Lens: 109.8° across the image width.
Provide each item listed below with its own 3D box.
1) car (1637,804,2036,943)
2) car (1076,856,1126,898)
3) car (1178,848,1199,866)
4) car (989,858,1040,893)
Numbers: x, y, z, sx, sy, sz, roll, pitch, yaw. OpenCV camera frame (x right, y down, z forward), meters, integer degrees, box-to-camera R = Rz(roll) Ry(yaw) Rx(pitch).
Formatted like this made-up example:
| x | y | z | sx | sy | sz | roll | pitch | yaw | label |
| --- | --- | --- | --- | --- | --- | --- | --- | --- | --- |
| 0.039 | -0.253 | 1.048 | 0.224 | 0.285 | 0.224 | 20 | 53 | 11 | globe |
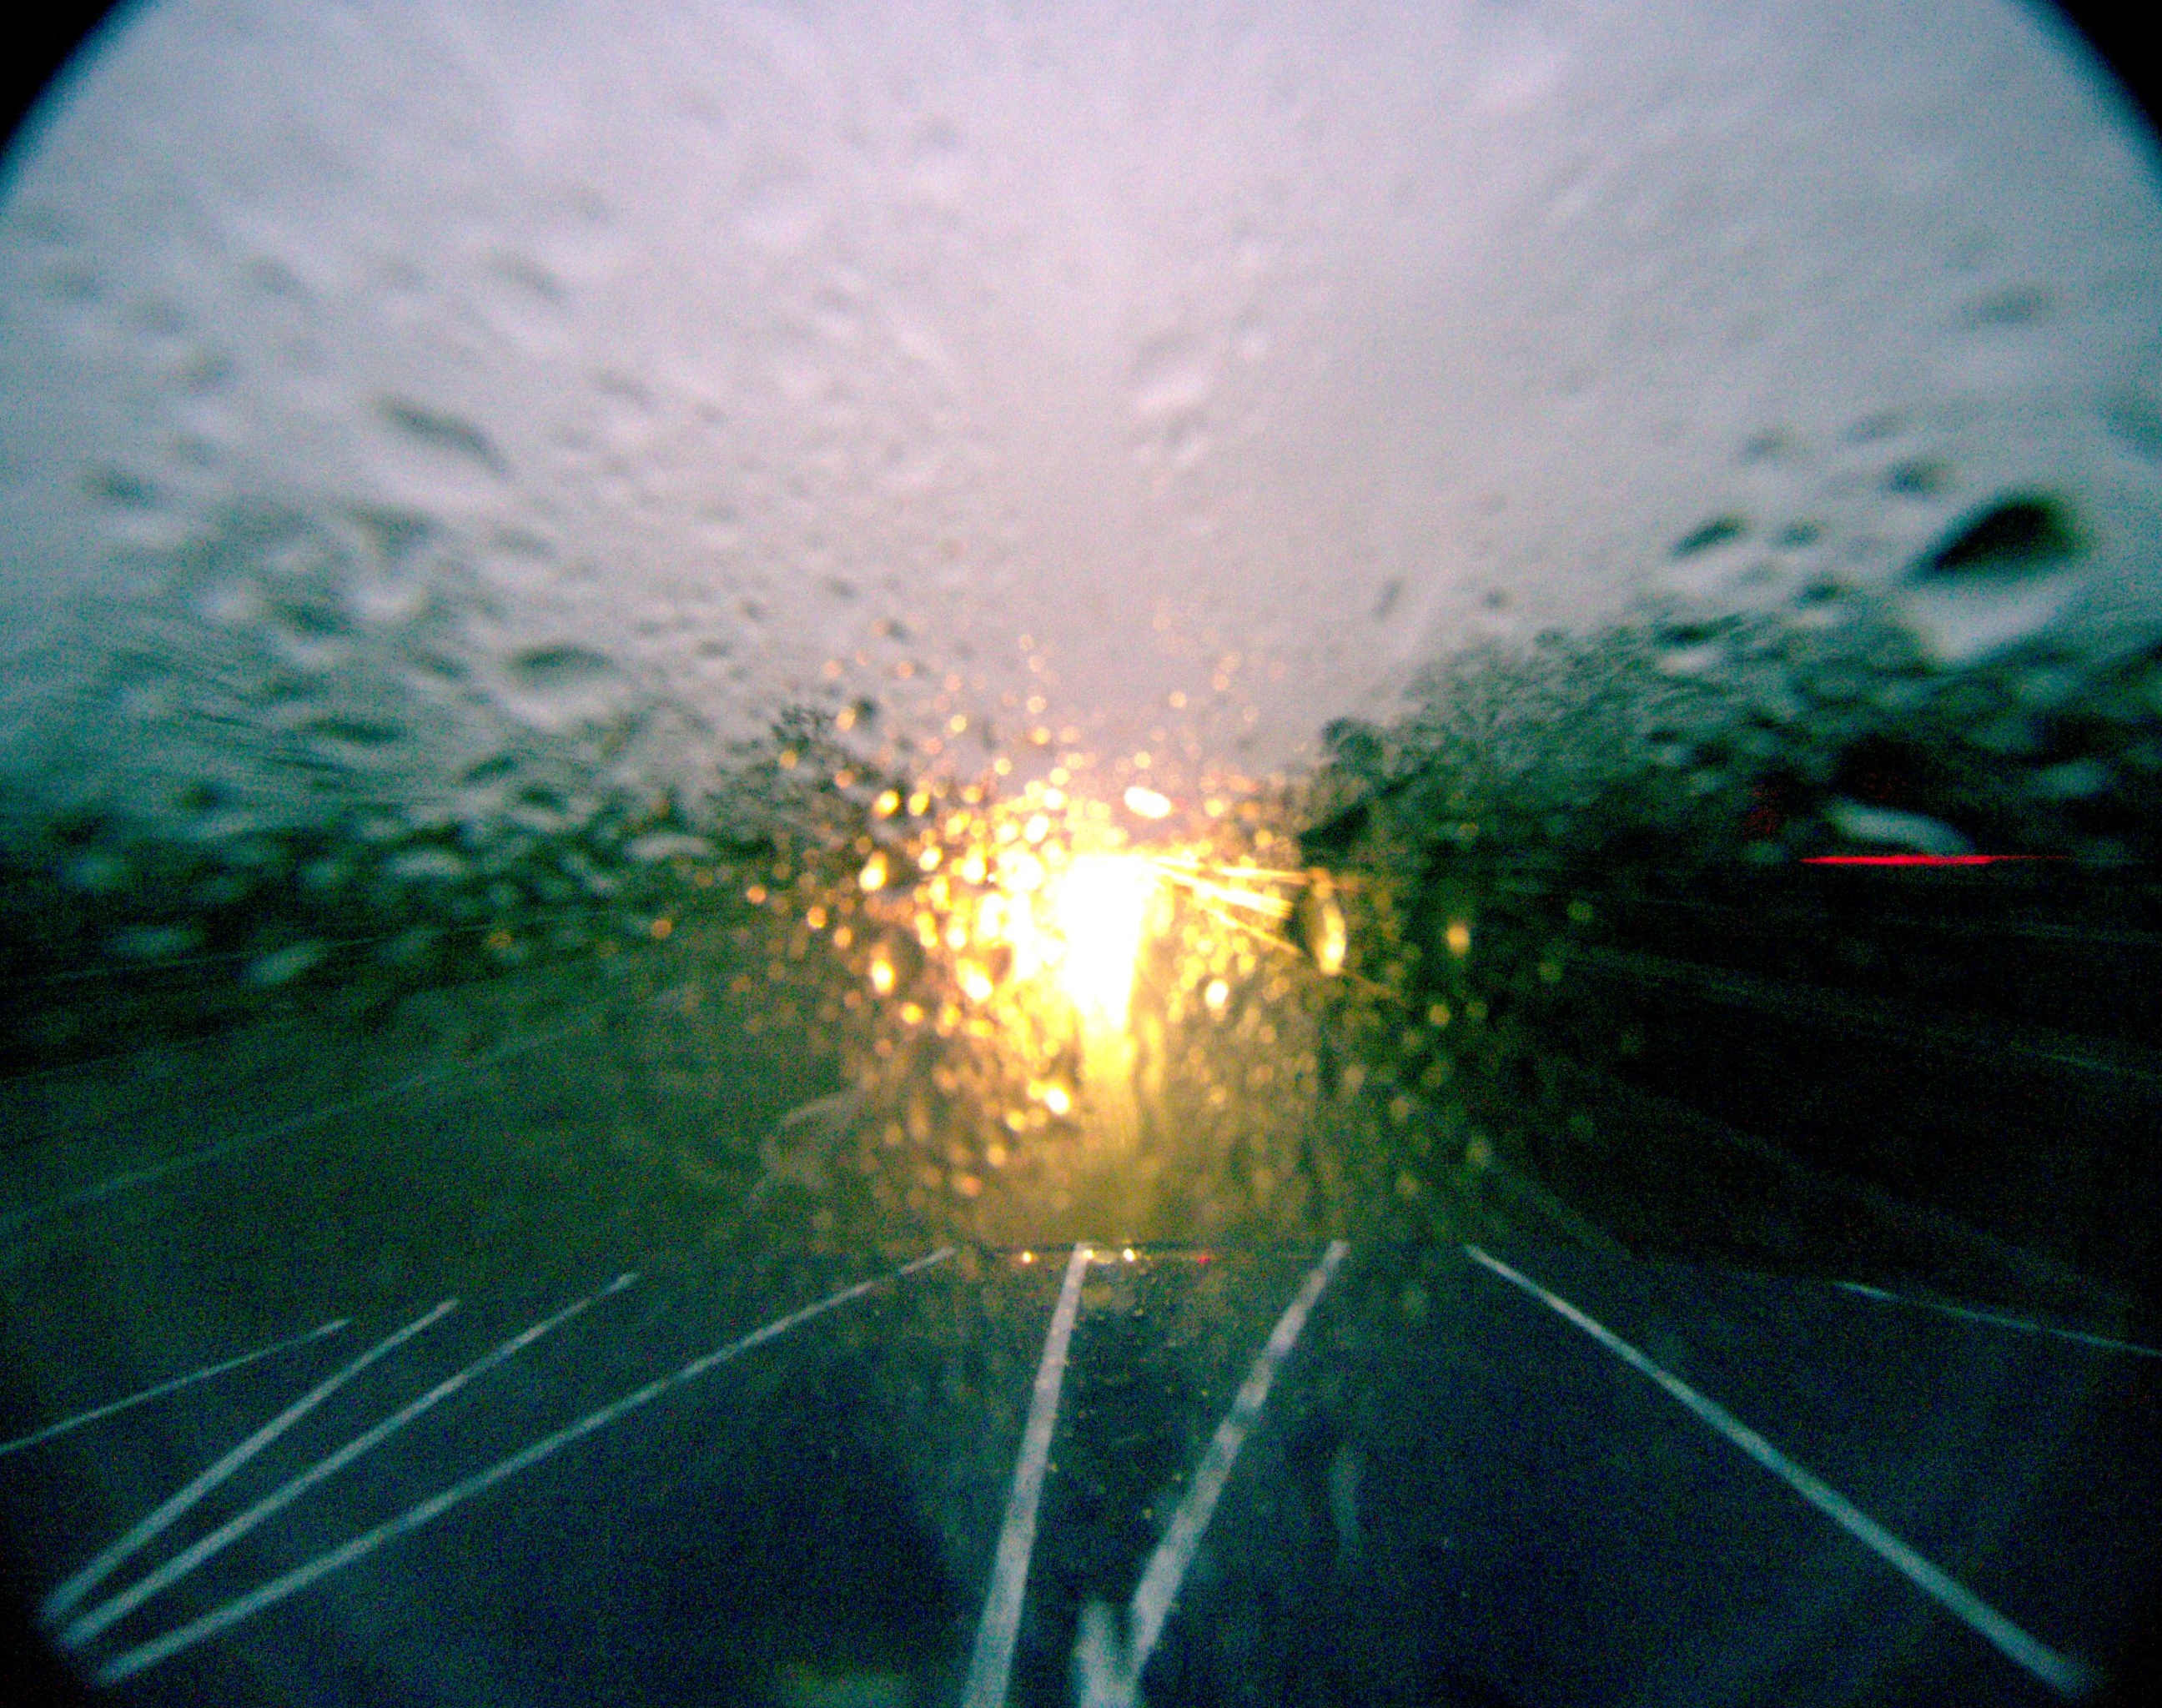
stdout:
| x | y | z | sx | sy | sz | roll | pitch | yaw | label |
| --- | --- | --- | --- | --- | --- | --- | --- | --- | --- |
| 11.785 | 0.249 | 12.476 | 1.900 | 1.774 | 4.704 | -3 | 0 | 1 | car |
| 0.869 | 0.893 | 30.783 | 1.850 | 1.521 | 4.149 | -2 | 0 | 3 | car |
| 10.613 | 0.278 | 75.193 | 1.744 | 1.630 | 4.001 | -4 | 0 | 4 | car |
| -3.117 | 1.001 | 36.592 | 1.850 | 1.521 | 4.149 | -2 | 0 | 3 | car |
